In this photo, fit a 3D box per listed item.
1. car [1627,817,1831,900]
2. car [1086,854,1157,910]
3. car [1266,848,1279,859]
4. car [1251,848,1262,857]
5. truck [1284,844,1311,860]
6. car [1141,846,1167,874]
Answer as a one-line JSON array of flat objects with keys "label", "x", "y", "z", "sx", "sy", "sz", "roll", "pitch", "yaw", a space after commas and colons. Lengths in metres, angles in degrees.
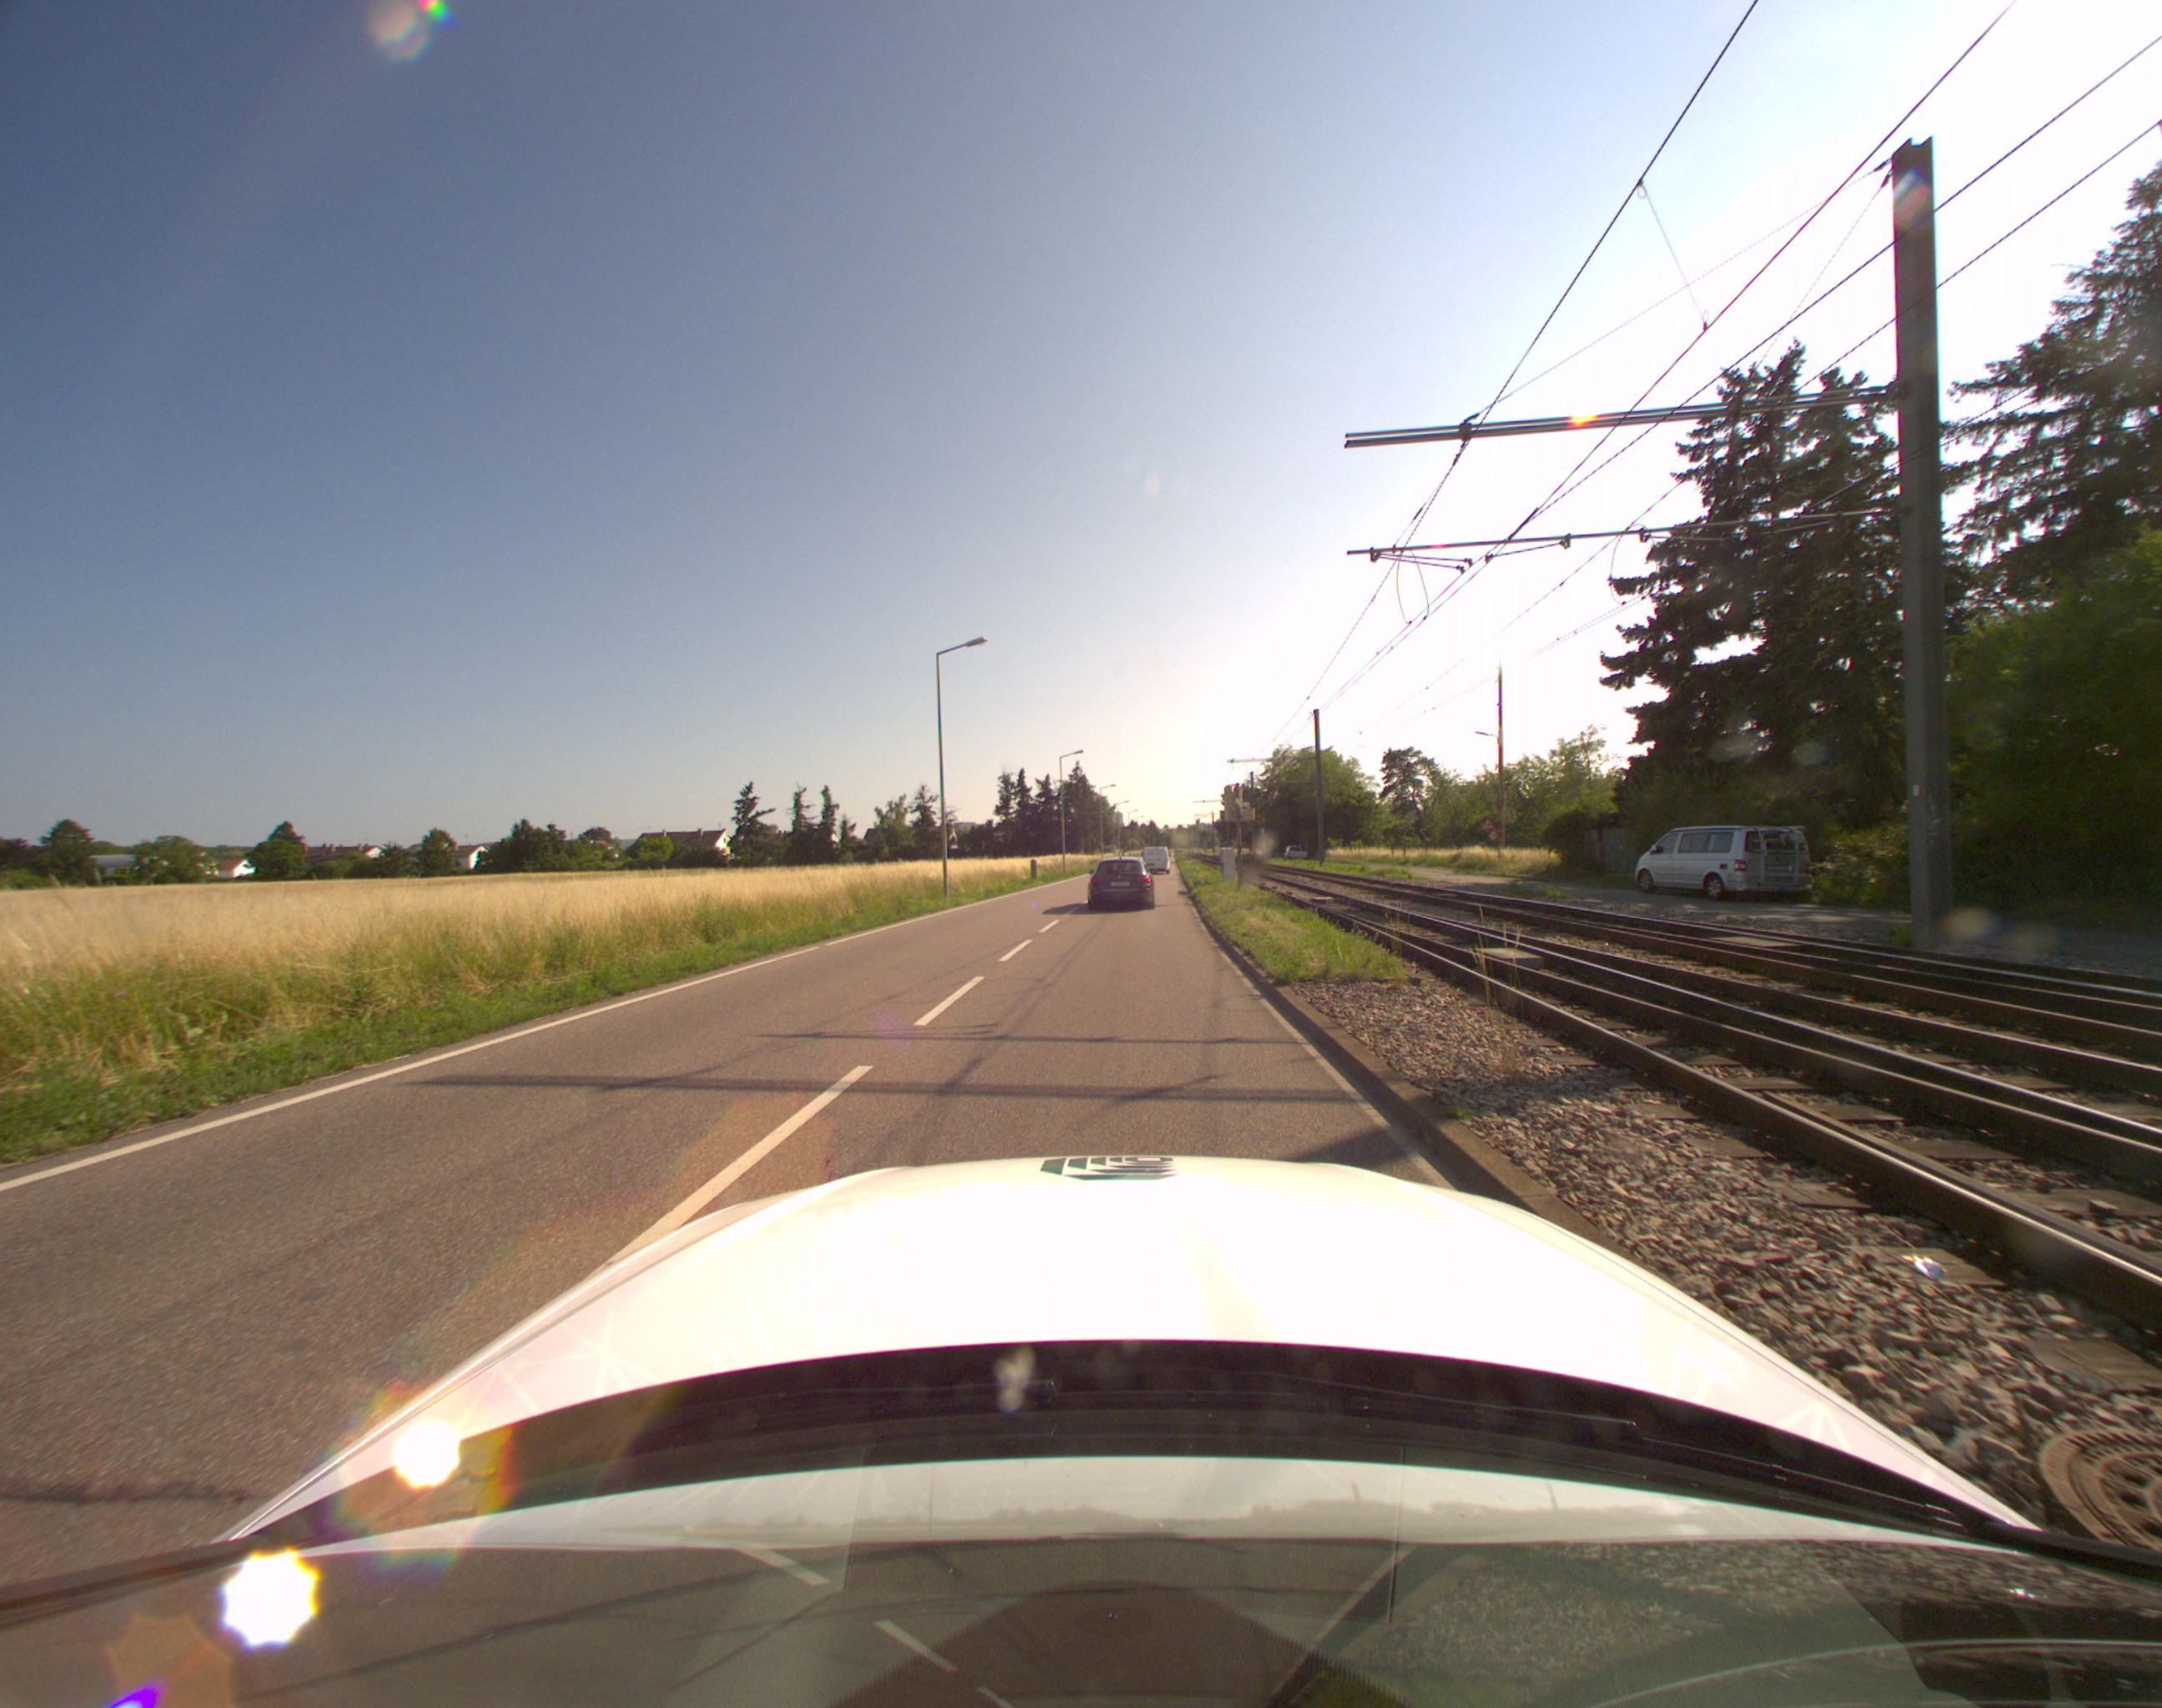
[{"label": "car", "x": 17.619, "y": 0.097, "z": 22.555, "sx": 1.984, "sy": 2.004, "sz": 5.075, "roll": 1, "pitch": 0, "yaw": 5}, {"label": "car", "x": 1.251, "y": 0.748, "z": 23.983, "sx": 1.860, "sy": 1.452, "sz": 4.749, "roll": -1, "pitch": 0, "yaw": 4}, {"label": "car", "x": 29.525, "y": -0.097, "z": 125.429, "sx": 1.725, "sy": 1.679, "sz": 3.552, "roll": 0, "pitch": -1, "yaw": 9}, {"label": "car", "x": 30.918, "y": -0.248, "z": 143.606, "sx": 1.613, "sy": 1.398, "sz": 3.496, "roll": 0, "pitch": -1, "yaw": 6}, {"label": "truck", "x": 25.975, "y": -0.287, "z": 97.688, "sx": 2.193, "sy": 1.819, "sz": 5.939, "roll": -1, "pitch": 0, "yaw": 6}, {"label": "car", "x": 5.415, "y": 0.416, "z": 60.701, "sx": 1.849, "sy": 1.988, "sz": 5.115, "roll": -1, "pitch": 1, "yaw": 5}]
